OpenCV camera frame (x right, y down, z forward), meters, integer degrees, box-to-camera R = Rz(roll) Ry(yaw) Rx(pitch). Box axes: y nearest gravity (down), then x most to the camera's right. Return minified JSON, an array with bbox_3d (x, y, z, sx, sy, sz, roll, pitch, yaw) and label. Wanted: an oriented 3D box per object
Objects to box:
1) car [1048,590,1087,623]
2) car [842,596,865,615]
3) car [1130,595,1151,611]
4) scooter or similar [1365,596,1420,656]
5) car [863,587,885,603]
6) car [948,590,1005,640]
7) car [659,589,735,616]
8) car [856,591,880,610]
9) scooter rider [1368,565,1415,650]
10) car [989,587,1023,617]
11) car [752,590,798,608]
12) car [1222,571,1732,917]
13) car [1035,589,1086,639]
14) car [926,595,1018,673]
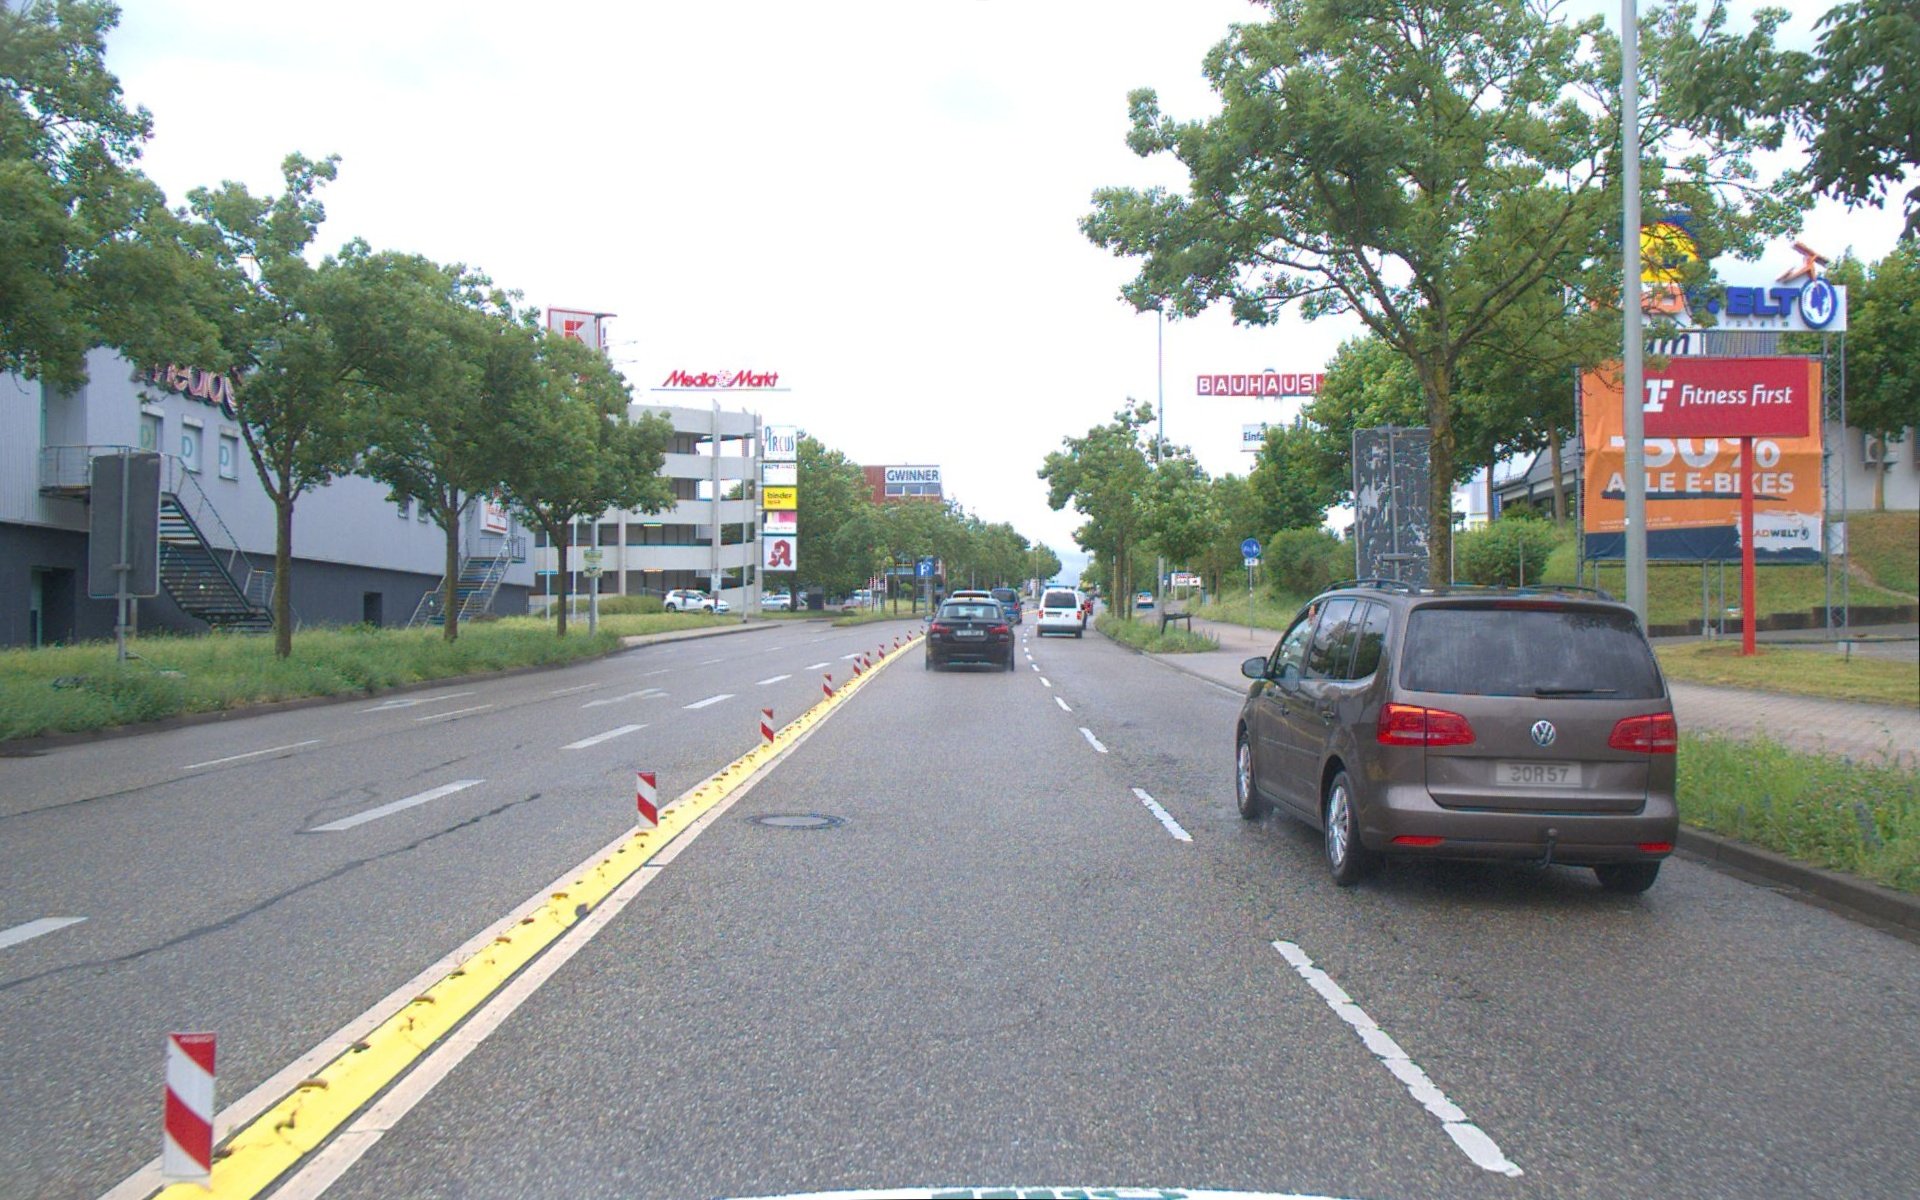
[{"bbox_3d":[5.283,0.329,81.622,1.757,1.537,4.001,2,0,2],"label":"car"},{"bbox_3d":[-10.379,0.505,161.854,1.893,1.637,4.712,1,2,1],"label":"car"},{"bbox_3d":[18.112,0.326,166.172,1.757,1.537,4.001,2,0,2],"label":"car"},{"bbox_3d":[9.671,0.586,37.013,0.681,1.286,1.398,-2,-1,-7],"label":"scooter or similar"},{"bbox_3d":[-10.255,-0.594,197.211,2.093,1.804,4.611,1,2,4],"label":"car"},{"bbox_3d":[0.521,0.487,53.991,1.757,1.537,4.000,2,0,0],"label":"car"},{"bbox_3d":[-16.497,0.160,103.821,4.316,1.432,1.907,2,2,15],"label":"car"},{"bbox_3d":[-9.813,0.054,176.283,1.996,1.792,4.948,1,2,3],"label":"car"},{"bbox_3d":[9.650,0.174,37.036,0.682,1.852,0.857,-2,-1,-7],"label":"scooter rider"},{"bbox_3d":[2.478,0.126,88.564,1.757,1.537,4.001,2,0,2],"label":"car"},{"bbox_3d":[-18.676,-0.109,167.119,4.506,1.776,1.966,1,1,-2],"label":"car"},{"bbox_3d":[2.846,0.711,10.129,1.651,1.609,4.217,3,0,-2],"label":"car"},{"bbox_3d":[3.826,0.509,63.620,1.789,1.789,4.001,2,0,2],"label":"car"},{"bbox_3d":[0.247,0.671,34.605,1.789,1.494,4.000,1,0,0],"label":"car"}]
